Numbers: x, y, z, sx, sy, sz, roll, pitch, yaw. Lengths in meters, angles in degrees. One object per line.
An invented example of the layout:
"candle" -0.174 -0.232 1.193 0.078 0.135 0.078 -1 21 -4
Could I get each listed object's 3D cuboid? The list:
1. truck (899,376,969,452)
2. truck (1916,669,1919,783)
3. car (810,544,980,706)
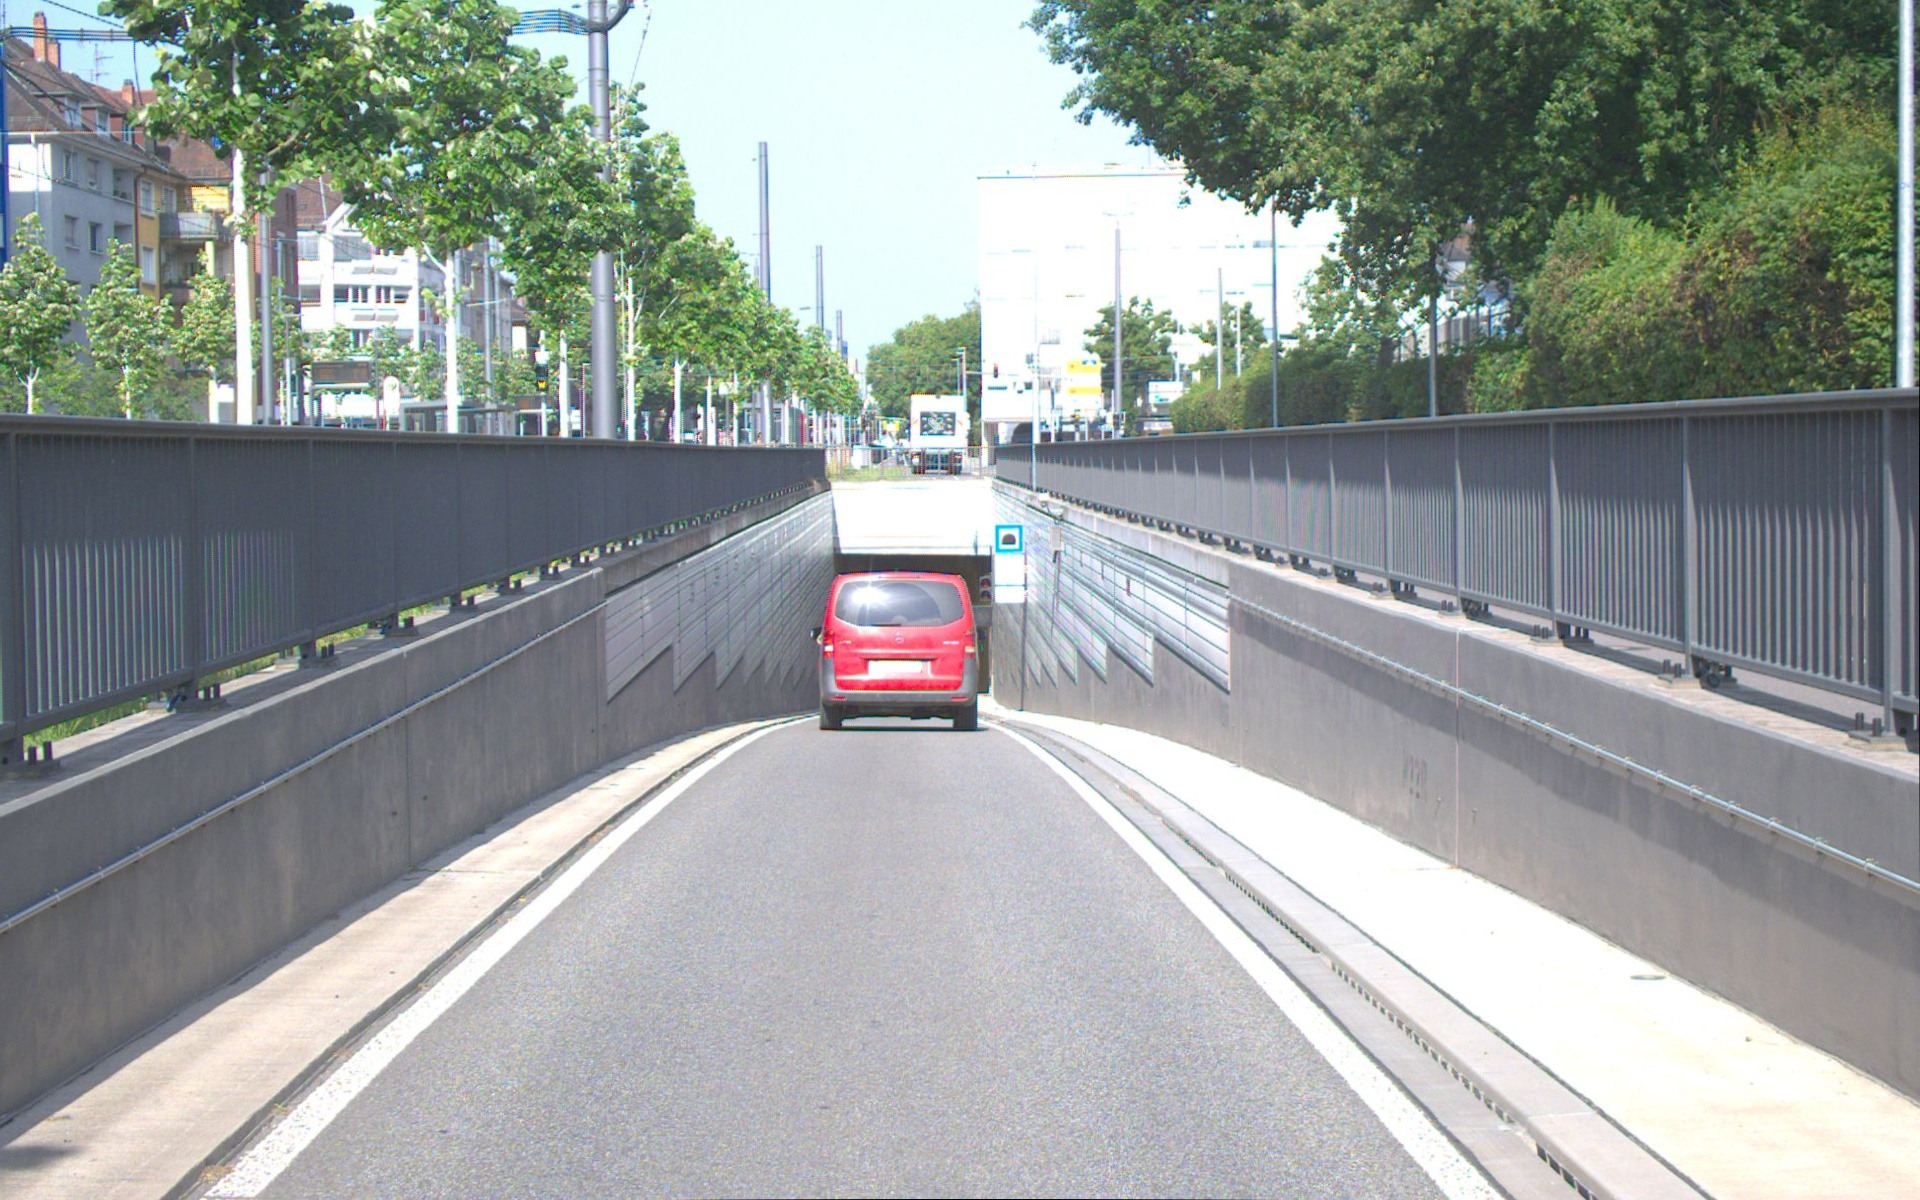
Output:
"truck" -1.373 -9.366 174.200 3.391 3.713 10.453 -1 3 -1
"truck" 5.157 -0.626 9.523 2.502 3.050 7.822 2 2 -2
"car" -0.740 0.273 41.700 1.901 1.853 4.000 0 0 1
